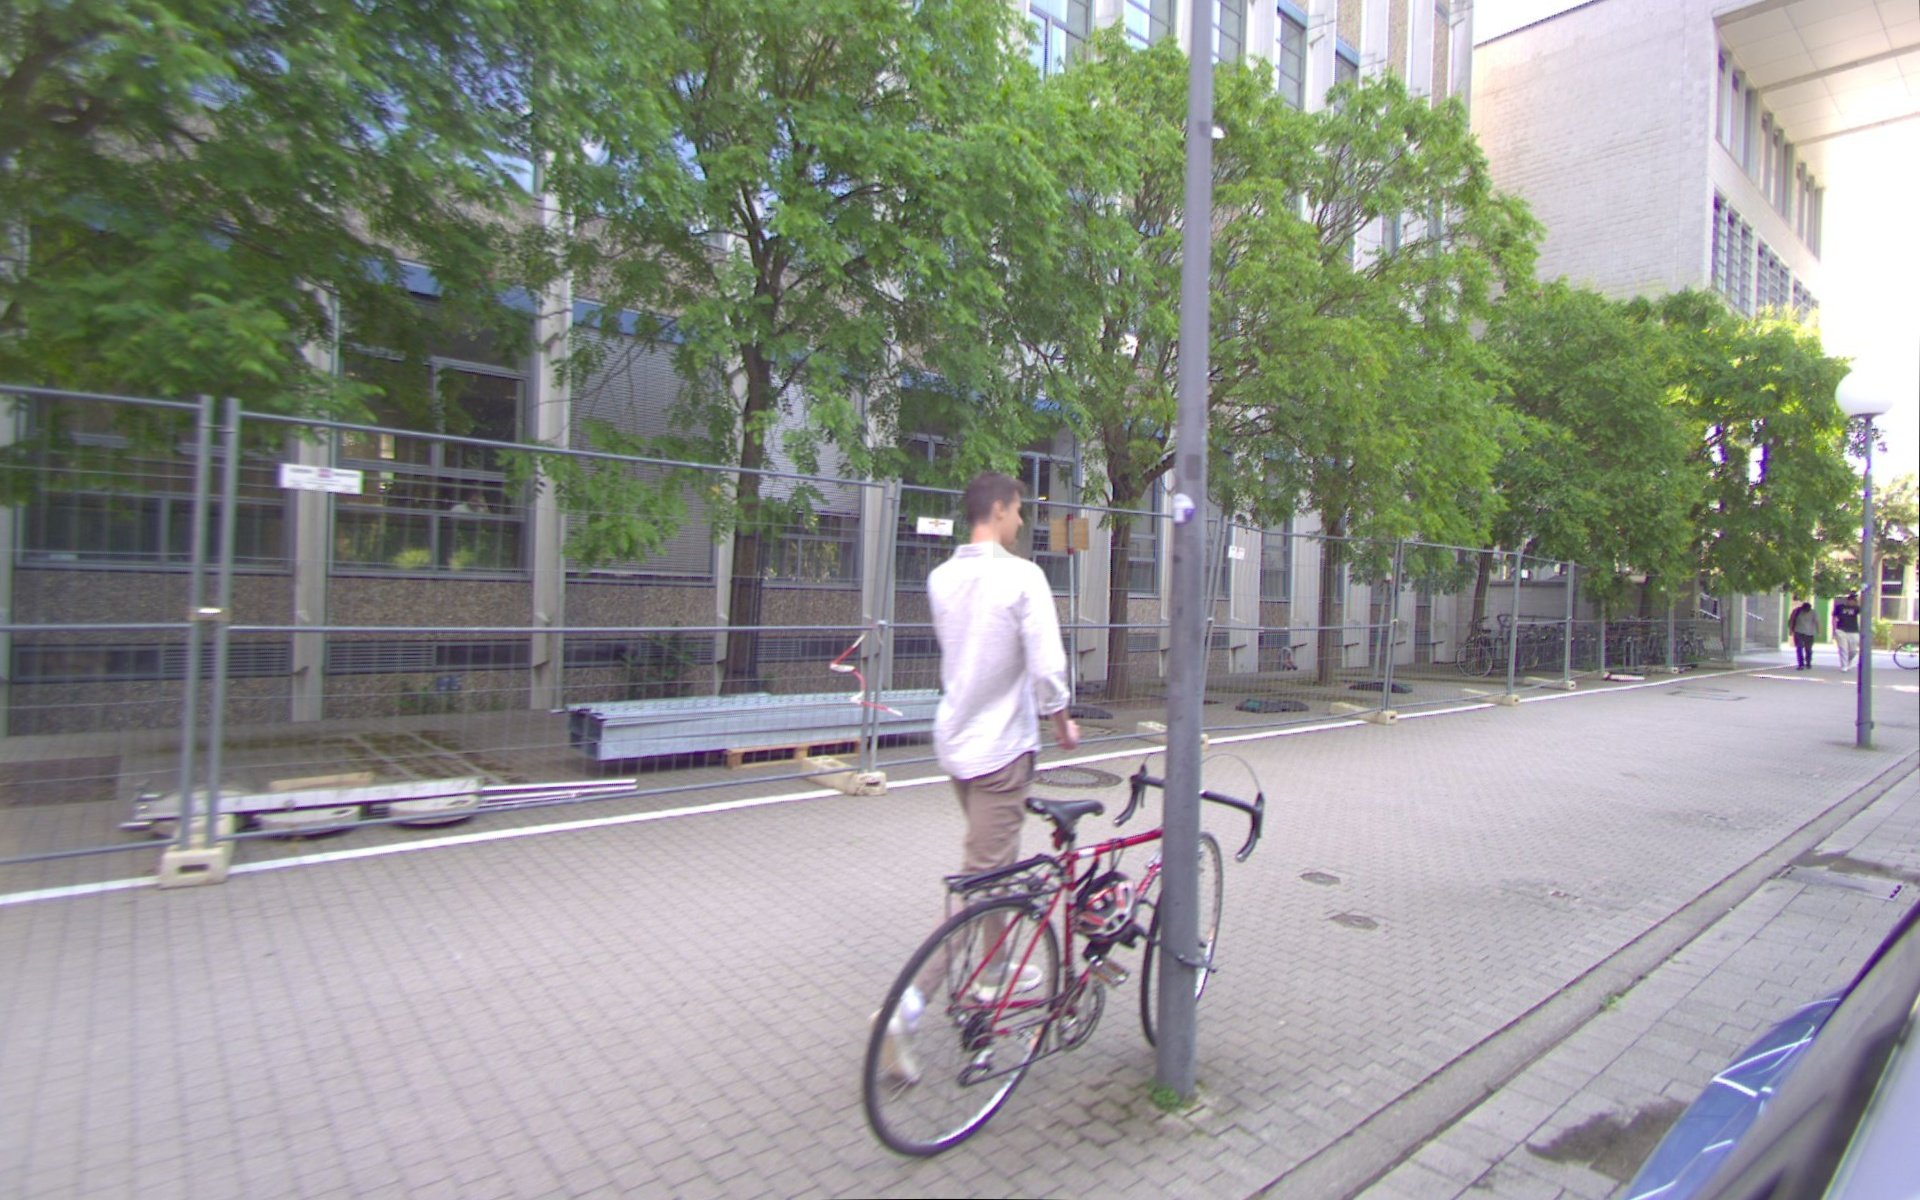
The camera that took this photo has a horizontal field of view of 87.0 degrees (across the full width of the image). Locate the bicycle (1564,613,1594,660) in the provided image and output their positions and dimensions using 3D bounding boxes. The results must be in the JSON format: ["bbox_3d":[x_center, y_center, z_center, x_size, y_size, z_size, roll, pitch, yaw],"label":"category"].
[{"bbox_3d":[15.086,0.886,24.646,1.424,1.113,0.291,1,-1,-44],"label":"bicycle"}]

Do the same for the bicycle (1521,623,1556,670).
[{"bbox_3d":[11.827,0.927,20.680,0.290,0.917,1.778,0,-1,41],"label":"bicycle"}]

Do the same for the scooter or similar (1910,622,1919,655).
[{"bbox_3d":[34.693,1.394,36.064,0.436,1.166,1.158,2,-1,-35],"label":"scooter or similar"}]

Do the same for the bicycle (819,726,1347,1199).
[{"bbox_3d":[0.446,0.908,2.800,1.701,0.947,0.396,1,1,-41],"label":"bicycle"}]

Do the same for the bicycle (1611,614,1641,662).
[{"bbox_3d":[15.730,0.891,23.888,1.424,1.108,0.291,1,-1,-44],"label":"bicycle"}]

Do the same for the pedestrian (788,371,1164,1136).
[{"bbox_3d":[0.106,0.382,3.156,0.777,1.869,1.108,-1,-2,25],"label":"pedestrian"}]

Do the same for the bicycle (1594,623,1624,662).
[{"bbox_3d":[15.499,0.994,24.150,1.424,0.898,0.291,1,-1,-44],"label":"bicycle"}]

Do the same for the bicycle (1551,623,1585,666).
[{"bbox_3d":[13.725,0.991,22.831,1.424,0.917,0.291,1,-1,-44],"label":"bicycle"}]

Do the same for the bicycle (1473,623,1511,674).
[{"bbox_3d":[10.189,0.913,19.368,0.290,0.917,1.595,0,-1,41],"label":"bicycle"}]

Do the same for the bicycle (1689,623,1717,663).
[{"bbox_3d":[17.532,1.000,23.871,1.424,0.917,0.291,1,-1,-44],"label":"bicycle"}]

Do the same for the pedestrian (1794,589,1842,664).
[{"bbox_3d":[19.564,0.600,23.096,0.697,1.676,0.872,0,-1,32],"label":"pedestrian"}]

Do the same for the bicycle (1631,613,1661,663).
[{"bbox_3d":[16.019,0.878,23.620,1.424,1.143,0.291,1,-1,-44],"label":"bicycle"}]

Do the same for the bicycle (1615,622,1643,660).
[{"bbox_3d":[16.648,1.000,25.169,1.424,0.917,0.291,1,-1,-44],"label":"bicycle"}]

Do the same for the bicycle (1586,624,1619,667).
[{"bbox_3d":[14.189,0.994,22.339,1.424,0.917,0.291,1,-1,-44],"label":"bicycle"}]

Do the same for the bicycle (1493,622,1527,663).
[{"bbox_3d":[12.938,0.987,23.803,1.424,0.917,0.291,1,-1,-44],"label":"bicycle"}]

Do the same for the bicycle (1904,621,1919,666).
[{"bbox_3d":[23.208,1.035,23.581,0.442,1.053,1.739,3,-2,-44],"label":"bicycle"}]

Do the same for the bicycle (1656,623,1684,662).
[{"bbox_3d":[17.199,1.019,24.494,1.424,0.917,0.291,1,-1,-44],"label":"bicycle"}]

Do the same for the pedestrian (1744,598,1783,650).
[{"bbox_3d":[26.123,0.772,32.904,0.798,1.638,0.735,1,-1,22],"label":"pedestrian"}]

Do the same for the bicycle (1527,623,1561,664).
[{"bbox_3d":[13.402,0.989,23.222,1.424,0.917,0.291,1,-1,-44],"label":"bicycle"}]

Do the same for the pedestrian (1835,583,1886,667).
[{"bbox_3d":[20.014,0.540,22.507,0.697,1.826,0.872,0,-1,32],"label":"pedestrian"}]

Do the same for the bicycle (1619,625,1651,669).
[{"bbox_3d":[14.640,0.997,21.935,1.424,0.917,0.291,1,-1,-44],"label":"bicycle"}]
